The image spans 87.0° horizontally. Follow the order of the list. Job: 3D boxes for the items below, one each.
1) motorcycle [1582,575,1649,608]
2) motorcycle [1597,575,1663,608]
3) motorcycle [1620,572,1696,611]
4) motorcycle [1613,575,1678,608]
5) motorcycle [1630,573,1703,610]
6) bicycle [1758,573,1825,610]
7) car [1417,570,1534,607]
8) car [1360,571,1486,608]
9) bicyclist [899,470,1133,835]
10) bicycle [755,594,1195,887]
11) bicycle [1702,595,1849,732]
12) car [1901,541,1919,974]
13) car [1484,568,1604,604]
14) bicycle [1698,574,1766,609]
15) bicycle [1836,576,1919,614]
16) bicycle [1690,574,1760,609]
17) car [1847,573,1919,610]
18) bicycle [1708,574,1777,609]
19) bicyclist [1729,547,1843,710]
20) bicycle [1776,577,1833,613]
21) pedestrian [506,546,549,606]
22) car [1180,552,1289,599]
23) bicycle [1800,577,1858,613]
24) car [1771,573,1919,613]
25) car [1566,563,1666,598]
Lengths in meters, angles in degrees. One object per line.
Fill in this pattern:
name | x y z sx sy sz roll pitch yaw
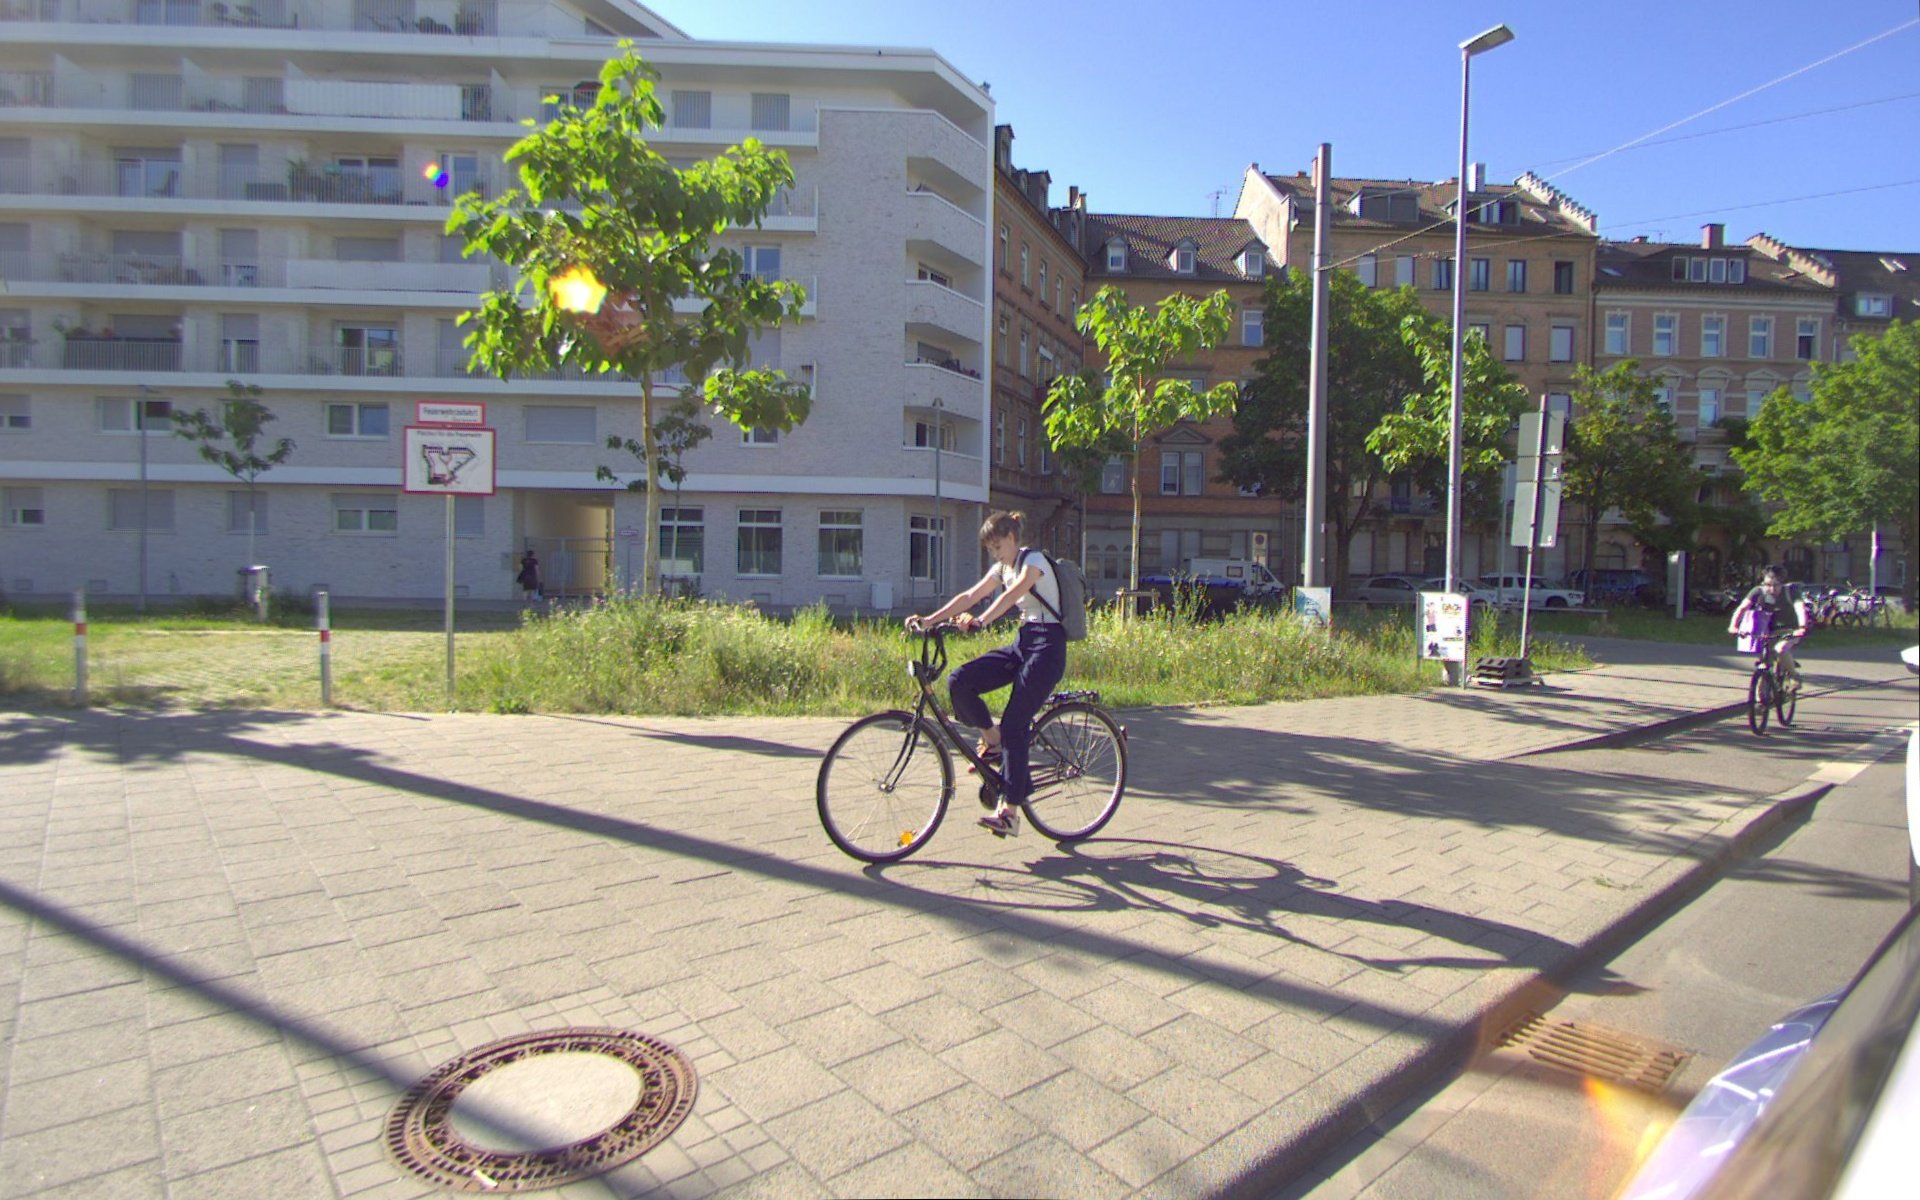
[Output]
motorcycle | 26.019 -0.333 40.229 0.649 1.293 2.324 0 0 -18
motorcycle | 26.689 -0.341 40.361 0.649 1.300 2.324 0 0 -18
motorcycle | 25.331 -0.310 36.783 0.650 1.347 2.207 0 0 -28
motorcycle | 27.480 -0.339 40.615 0.649 1.284 2.209 0 0 -18
motorcycle | 26.146 -0.325 37.472 0.649 1.339 2.208 0 0 -23
bicycle | 29.266 -0.296 35.677 0.651 1.284 2.202 0 0 4
car | 19.664 -0.472 38.722 1.648 1.267 3.709 0 3 -28
car | 17.341 -0.426 38.111 1.648 1.267 4.170 0 3 -28
bicyclist | 0.270 0.230 5.089 0.951 1.649 0.670 0 1 -28
bicycle | 0.115 0.588 5.030 2.110 1.212 0.670 0 1 -28
bicycle | 9.046 0.643 11.204 2.036 1.378 0.737 0 1 -36
car | 5.861 0.606 4.720 4.323 1.667 1.840 0 0 -43
car | 22.321 -0.583 38.777 1.513 1.267 3.700 -1 3 -39
bicycle | 29.073 -0.324 38.156 0.649 1.284 2.208 0 0 -9
bicycle | 31.622 -0.170 34.767 2.180 1.284 0.657 0 0 25
bicycle | 28.362 -0.314 37.569 0.649 1.284 2.208 0 0 -11
car | 37.814 -0.333 39.966 1.649 1.423 3.832 -1 3 -32
bicycle | 29.716 -0.330 38.467 0.649 1.284 2.208 0 0 -9
bicyclist | 9.194 0.288 11.266 0.953 1.715 0.736 0 1 -36
bicycle | 30.933 -0.189 37.114 0.653 1.284 2.196 0 0 12
pedestrian | -12.934 -0.725 30.283 0.829 1.717 0.985 2 2 2
car | 12.653 -1.160 46.787 4.416 2.062 2.054 1 2 0
bicycle | 32.027 -0.197 37.338 0.653 1.284 2.196 0 0 12
car | 34.678 -0.325 39.596 1.651 1.423 4.324 -1 3 -38
car | 30.868 -0.926 47.654 3.631 1.607 1.552 1 2 0
